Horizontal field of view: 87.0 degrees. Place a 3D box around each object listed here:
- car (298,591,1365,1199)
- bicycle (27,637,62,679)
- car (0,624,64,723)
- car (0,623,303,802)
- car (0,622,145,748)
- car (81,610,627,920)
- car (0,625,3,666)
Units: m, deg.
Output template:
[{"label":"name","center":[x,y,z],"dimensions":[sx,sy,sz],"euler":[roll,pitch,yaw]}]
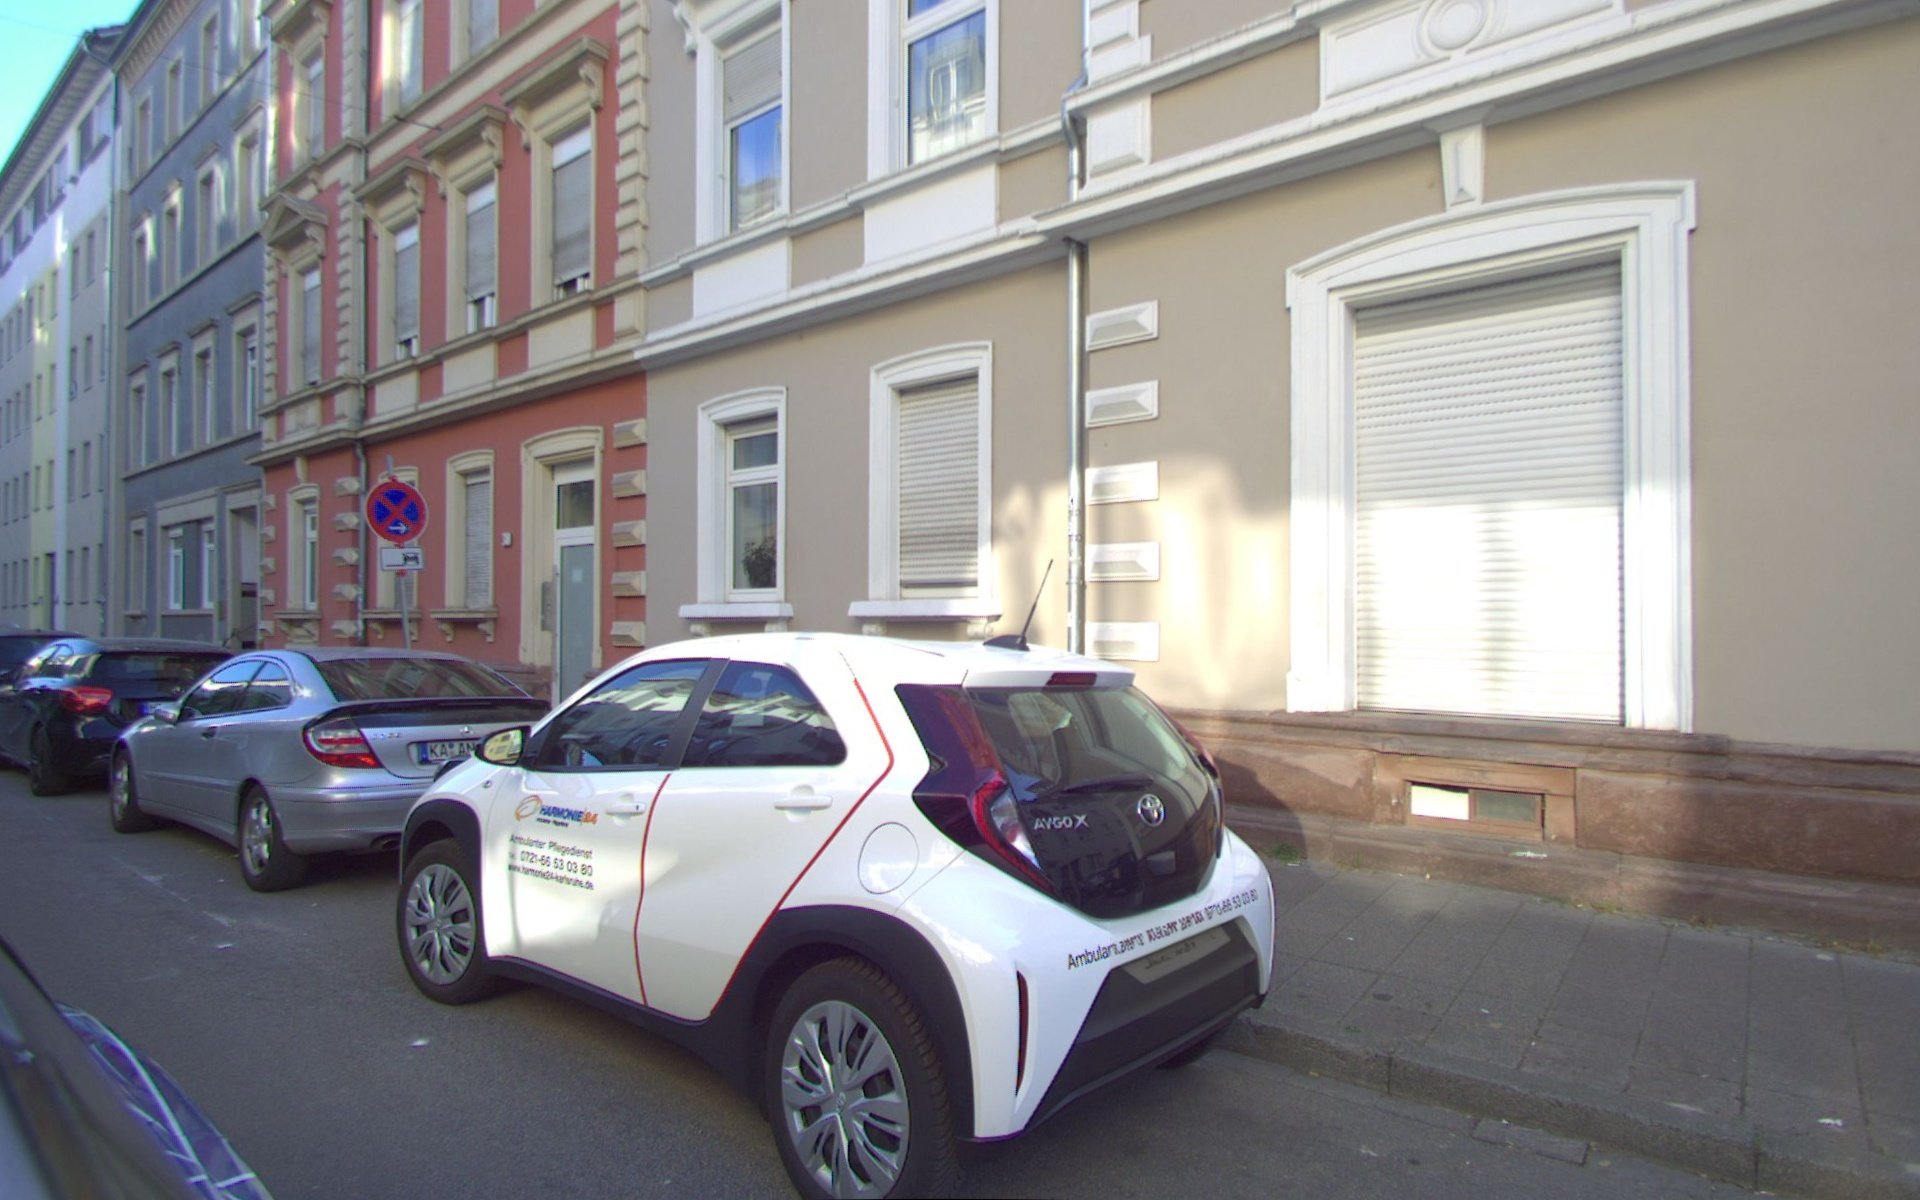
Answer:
[{"label":"car","center":[-0.847,0.846,4.114],"dimensions":[4.263,1.519,1.901],"euler":[-2,-4,40]},{"label":"bicycle","center":[-24.947,1.567,27.557],"dimensions":[1.750,1.082,0.446],"euler":[-1,-1,39]},{"label":"car","center":[-17.142,1.212,17.314],"dimensions":[4.261,1.572,1.902],"euler":[-2,-4,38]},{"label":"car","center":[-8.762,1.040,10.528],"dimensions":[4.261,1.495,1.902],"euler":[-2,-4,38]},{"label":"car","center":[-13.371,1.141,14.321],"dimensions":[4.234,1.572,1.883],"euler":[-2,-4,38]},{"label":"car","center":[-4.480,0.939,7.248],"dimensions":[4.261,1.572,1.902],"euler":[-2,-4,38]},{"label":"car","center":[-21.696,1.298,21.059],"dimensions":[4.261,1.572,1.902],"euler":[-2,-4,38]}]
